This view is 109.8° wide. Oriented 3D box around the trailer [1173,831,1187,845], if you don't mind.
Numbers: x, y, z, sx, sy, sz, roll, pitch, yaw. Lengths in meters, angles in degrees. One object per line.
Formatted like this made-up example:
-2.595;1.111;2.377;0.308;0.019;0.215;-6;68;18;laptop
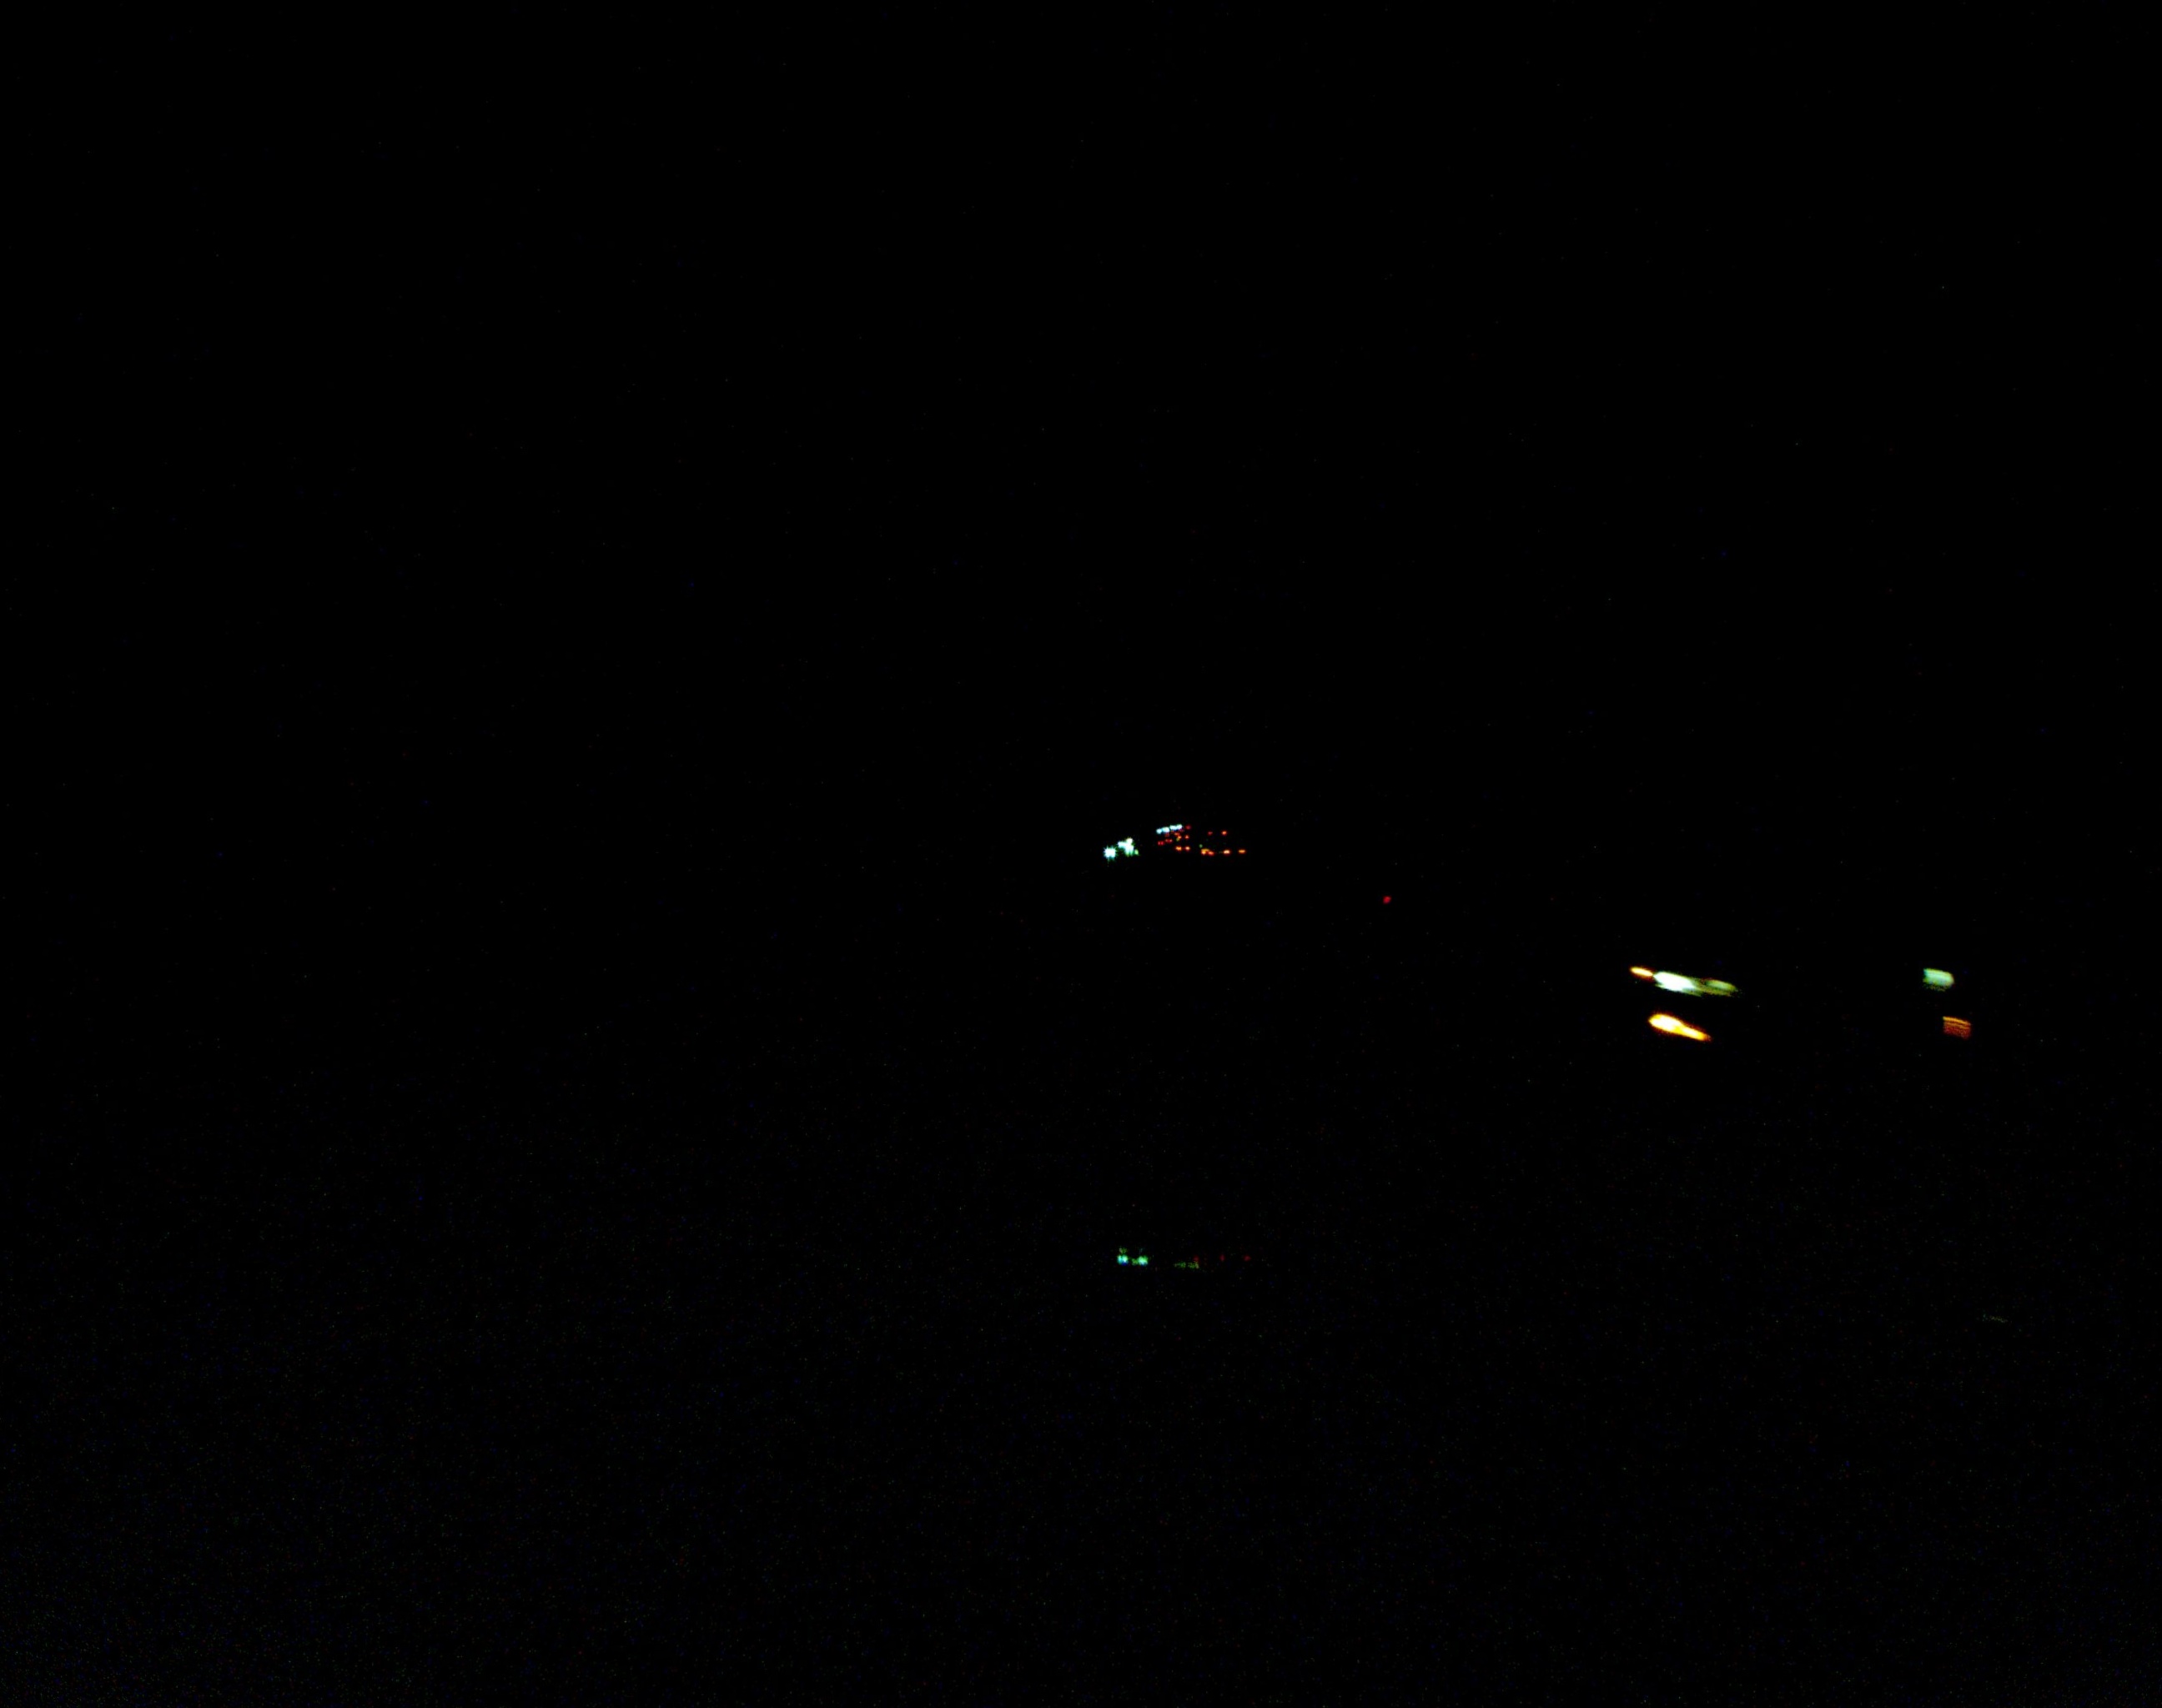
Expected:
30.113;-4.798;230.439;3.438;3.957;7.352;-2;1;3;trailer

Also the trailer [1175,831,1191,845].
29.781;-4.680;223.038;3.438;3.957;14.048;-2;1;3;trailer

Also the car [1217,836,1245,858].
17.960;-0.838;91.177;2.106;2.503;6.215;-2;1;1;car

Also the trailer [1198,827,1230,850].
23.714;-2.751;136.381;3.438;3.957;13.810;-2;1;1;trailer

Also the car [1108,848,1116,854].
8.601;-0.852;210.552;1.998;1.653;4.001;-2;0;4;car

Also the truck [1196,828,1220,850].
23.863;-2.888;143.143;3.438;3.957;6.206;-2;1;1;truck

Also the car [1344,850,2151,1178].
4.153;0.783;6.458;1.998;1.509;5.651;-2;0;2;car
